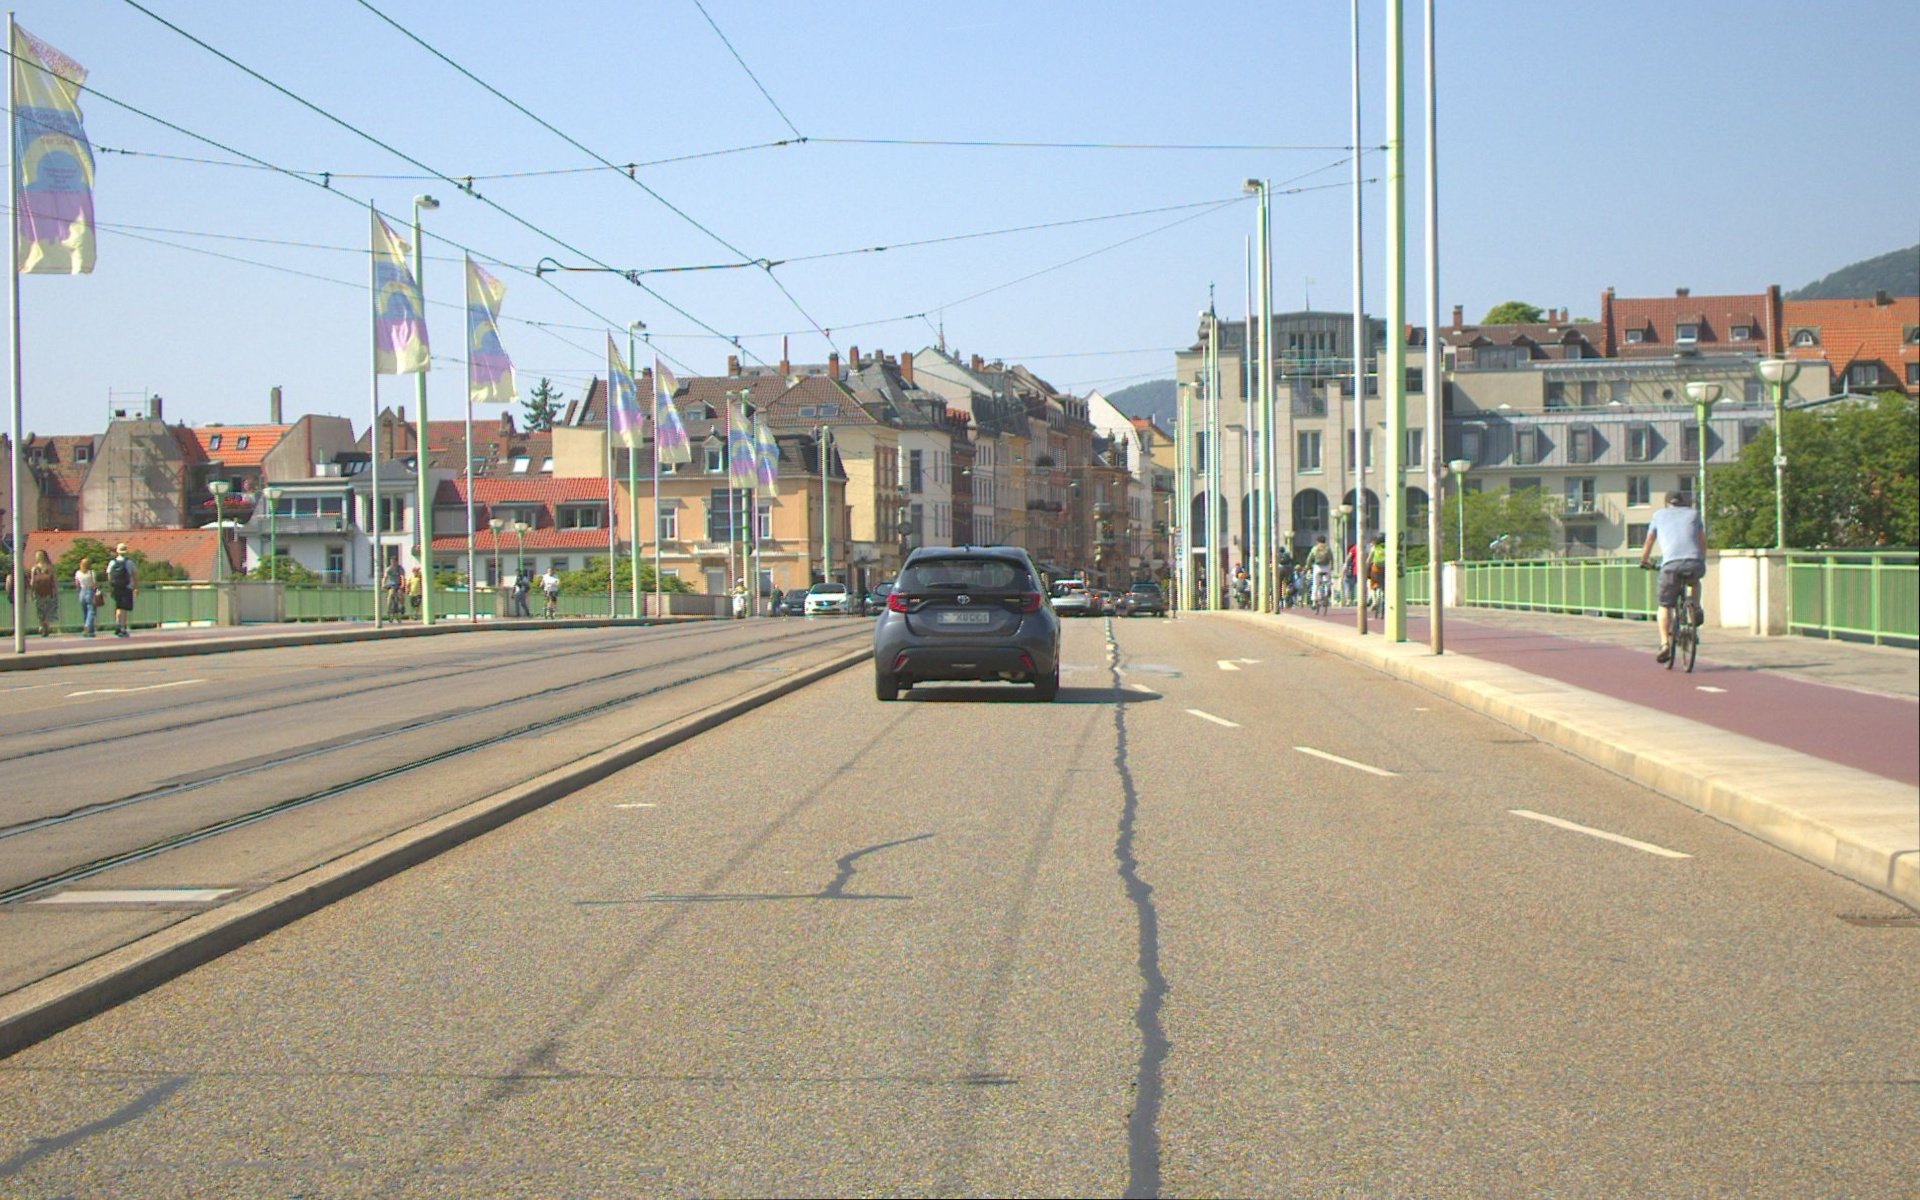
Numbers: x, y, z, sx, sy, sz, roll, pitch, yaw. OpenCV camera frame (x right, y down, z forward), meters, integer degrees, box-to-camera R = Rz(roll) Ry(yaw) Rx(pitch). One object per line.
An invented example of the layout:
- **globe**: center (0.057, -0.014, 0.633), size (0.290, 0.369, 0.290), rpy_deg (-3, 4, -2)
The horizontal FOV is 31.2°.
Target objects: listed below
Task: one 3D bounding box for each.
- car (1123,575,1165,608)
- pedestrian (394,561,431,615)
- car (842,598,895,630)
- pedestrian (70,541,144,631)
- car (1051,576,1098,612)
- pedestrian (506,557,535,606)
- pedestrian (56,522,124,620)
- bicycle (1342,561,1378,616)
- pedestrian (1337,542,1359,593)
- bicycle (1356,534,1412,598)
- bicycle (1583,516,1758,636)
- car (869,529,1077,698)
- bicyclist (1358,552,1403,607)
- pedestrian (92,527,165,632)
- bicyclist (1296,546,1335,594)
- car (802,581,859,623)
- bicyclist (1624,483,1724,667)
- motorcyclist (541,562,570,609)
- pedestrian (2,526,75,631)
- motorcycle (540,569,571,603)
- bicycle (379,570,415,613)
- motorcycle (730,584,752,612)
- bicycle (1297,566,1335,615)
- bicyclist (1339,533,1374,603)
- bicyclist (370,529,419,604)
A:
- **car**: center (8.661, -0.420, 161.205), size (1.804, 1.464, 3.999), rpy_deg (-2, 0, 5)
- **pedestrian**: center (-16.662, -0.367, 104.587), size (0.899, 1.652, 1.028), rpy_deg (0, 0, 5)
- **car**: center (-4.752, 0.713, 179.282), size (1.994, 1.594, 4.336), rpy_deg (-1, 0, 9)
- **pedestrian**: center (-16.567, -0.285, 66.812), size (1.097, 1.723, 1.295), rpy_deg (-1, 1, 0)
- **car**: center (4.878, -0.260, 146.647), size (1.804, 1.464, 4.000), rpy_deg (-2, 0, 0)
- **pedestrian**: center (-15.768, -0.665, 123.261), size (0.830, 1.716, 1.094), rpy_deg (-1, 0, 3)
- **pedestrian**: center (-18.043, -0.599, 71.345), size (1.097, 2.007, 1.129), rpy_deg (-1, 1, 0)
- **bicycle**: center (9.495, -0.283, 81.678), size (0.618, 1.266, 2.216), rpy_deg (-1, 0, 1)
- **pedestrian**: center (12.146, -1.009, 107.649), size (0.599, 1.580, 0.867), rpy_deg (-1, 0, 0)
- **bicycle**: center (8.186, -0.651, 66.454), size (0.695, 1.189, 2.079), rpy_deg (-1, 0, -3)
- **bicycle**: center (6.900, -0.247, 33.617), size (0.792, 1.092, 3.745), rpy_deg (-1, 1, -2)
- **car**: center (0.122, 0.084, 34.130), size (1.910, 1.535, 4.000), rpy_deg (-1, 1, 0)
- **bicyclist**: center (8.162, -0.400, 66.743), size (0.666, 1.041, 0.980), rpy_deg (-1, 0, -4)
- **pedestrian**: center (-16.230, -0.412, 67.124), size (1.097, 2.007, 1.295), rpy_deg (-1, 1, 0)
- **bicyclist**: center (7.724, -0.647, 74.679), size (0.735, 1.027, 1.175), rpy_deg (-1, 0, 1)
- **car**: center (-5.306, 0.075, 140.486), size (1.993, 1.404, 4.548), rpy_deg (-4, 3, -5)
- **bicyclist**: center (6.908, -0.247, 33.312), size (0.673, 1.738, 1.150), rpy_deg (-1, 1, -2)
- **motorcyclist**: center (-13.477, -0.495, 114.668), size (0.800, 1.544, 1.069), rpy_deg (-1, 0, 2)
- **pedestrian**: center (-17.957, -0.423, 66.992), size (1.097, 2.007, 1.129), rpy_deg (-1, 1, 0)
- **motorcycle**: center (-13.476, -0.480, 114.655), size (0.701, 1.106, 2.179), rpy_deg (-1, 0, 2)
- **bicycle**: center (-14.836, -0.220, 90.595), size (0.588, 1.093, 2.113), rpy_deg (-1, 1, 0)
- **motorcycle**: center (-9.084, -0.089, 142.439), size (0.701, 1.106, 2.179), rpy_deg (-1, 0, 2)
- **bicycle**: center (7.728, -0.212, 74.692), size (0.618, 1.034, 2.051), rpy_deg (-1, 0, 1)
- **bicyclist**: center (9.429, -0.762, 81.814), size (0.735, 1.630, 0.867), rpy_deg (-1, 0, 1)
- **bicyclist**: center (-14.927, -0.901, 90.780), size (1.097, 1.954, 1.129), rpy_deg (-1, 1, 0)
